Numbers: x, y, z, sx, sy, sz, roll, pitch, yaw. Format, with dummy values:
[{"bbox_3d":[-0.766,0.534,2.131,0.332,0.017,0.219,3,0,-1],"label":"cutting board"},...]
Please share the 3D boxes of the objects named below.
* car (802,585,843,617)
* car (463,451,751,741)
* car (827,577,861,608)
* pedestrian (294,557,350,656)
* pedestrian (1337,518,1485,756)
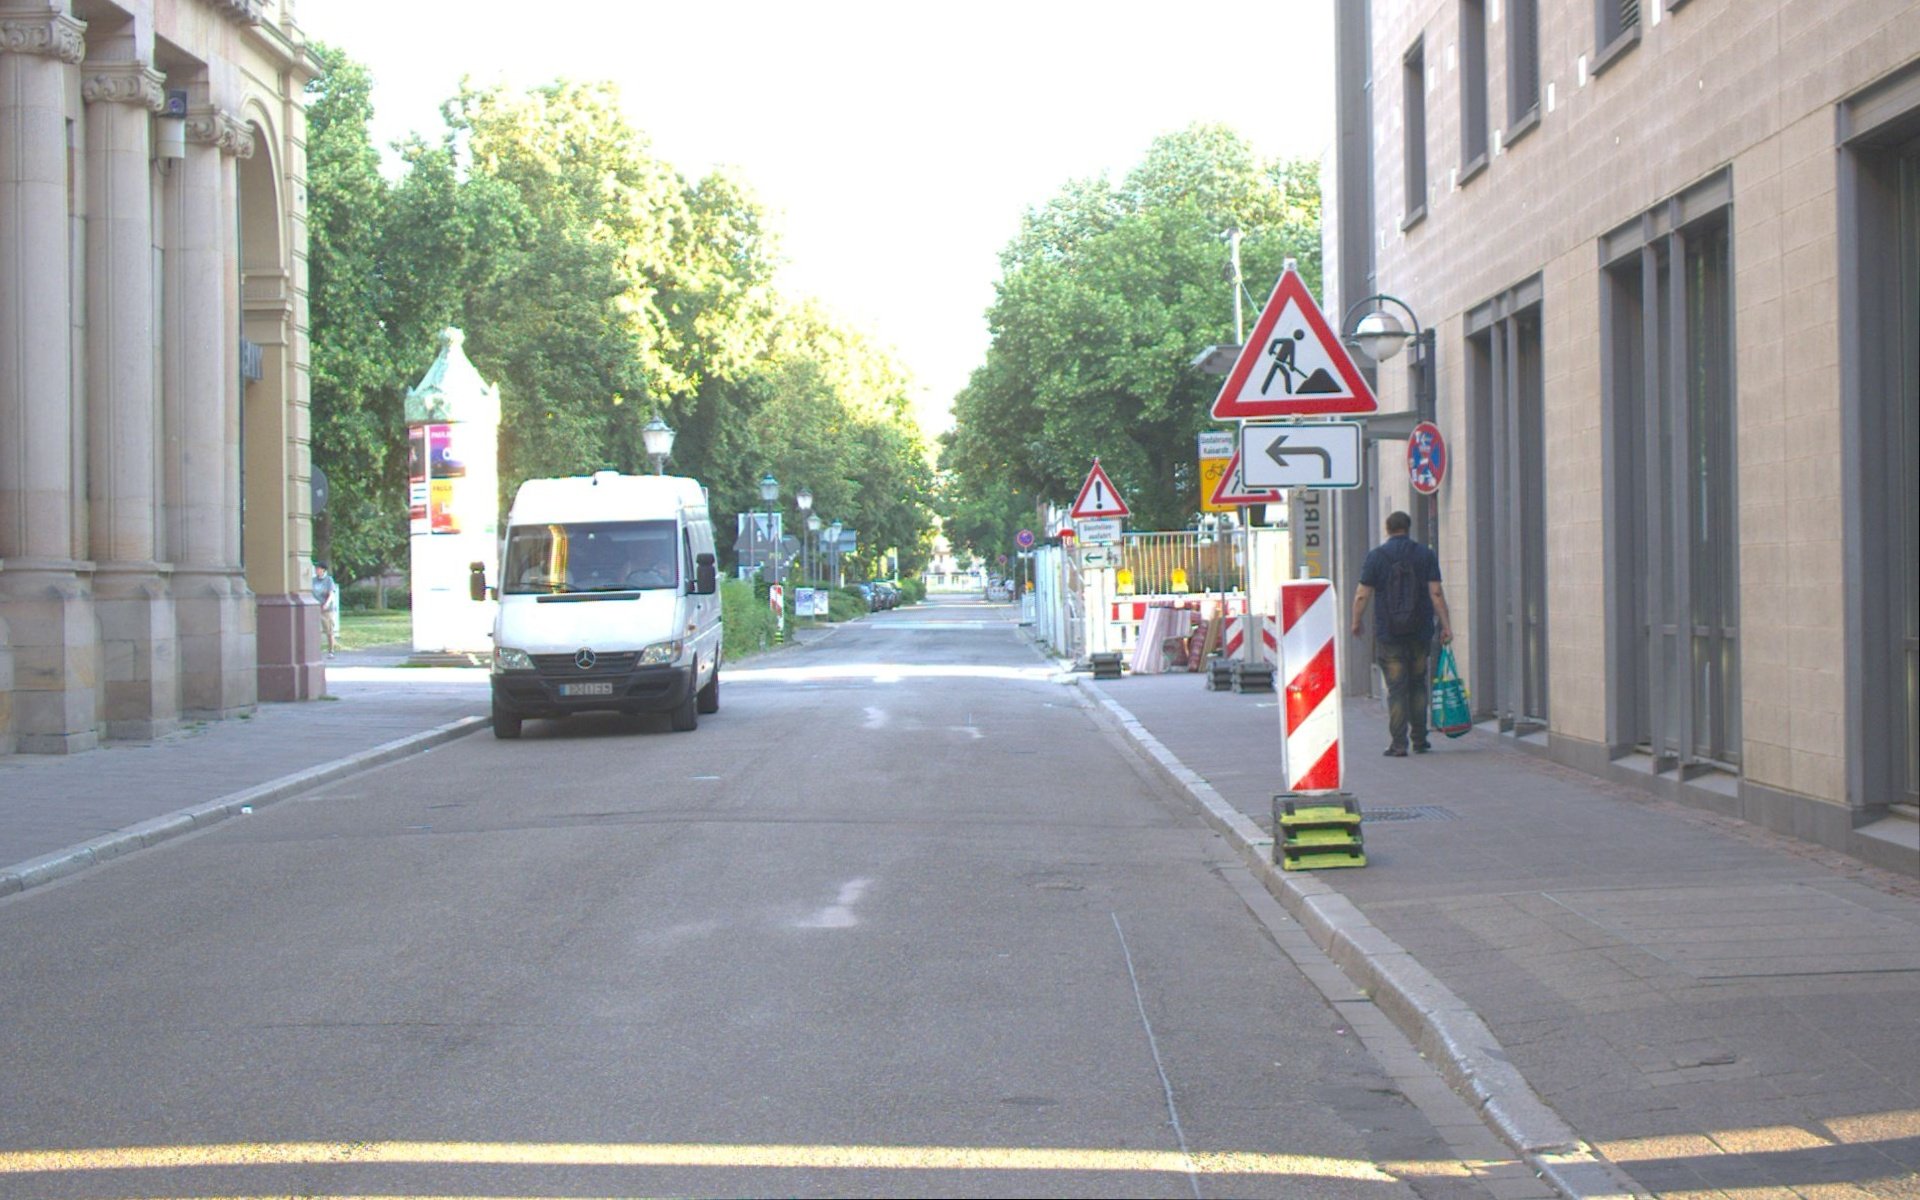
[{"bbox_3d":[-5.425,0.034,135.823,1.468,1.252,3.679,0,0,0],"label":"car"},{"bbox_3d":[-3.410,-0.074,34.520,1.996,2.503,6.470,-4,1,1],"label":"car"},{"bbox_3d":[-5.437,-0.365,161.613,1.468,1.399,3.679,0,0,0],"label":"car"},{"bbox_3d":[-11.184,0.108,60.272,0.746,1.696,0.702,-2,0,7],"label":"pedestrian"},{"bbox_3d":[3.313,0.263,25.337,0.923,1.696,0.868,-2,0,0],"label":"pedestrian"}]
